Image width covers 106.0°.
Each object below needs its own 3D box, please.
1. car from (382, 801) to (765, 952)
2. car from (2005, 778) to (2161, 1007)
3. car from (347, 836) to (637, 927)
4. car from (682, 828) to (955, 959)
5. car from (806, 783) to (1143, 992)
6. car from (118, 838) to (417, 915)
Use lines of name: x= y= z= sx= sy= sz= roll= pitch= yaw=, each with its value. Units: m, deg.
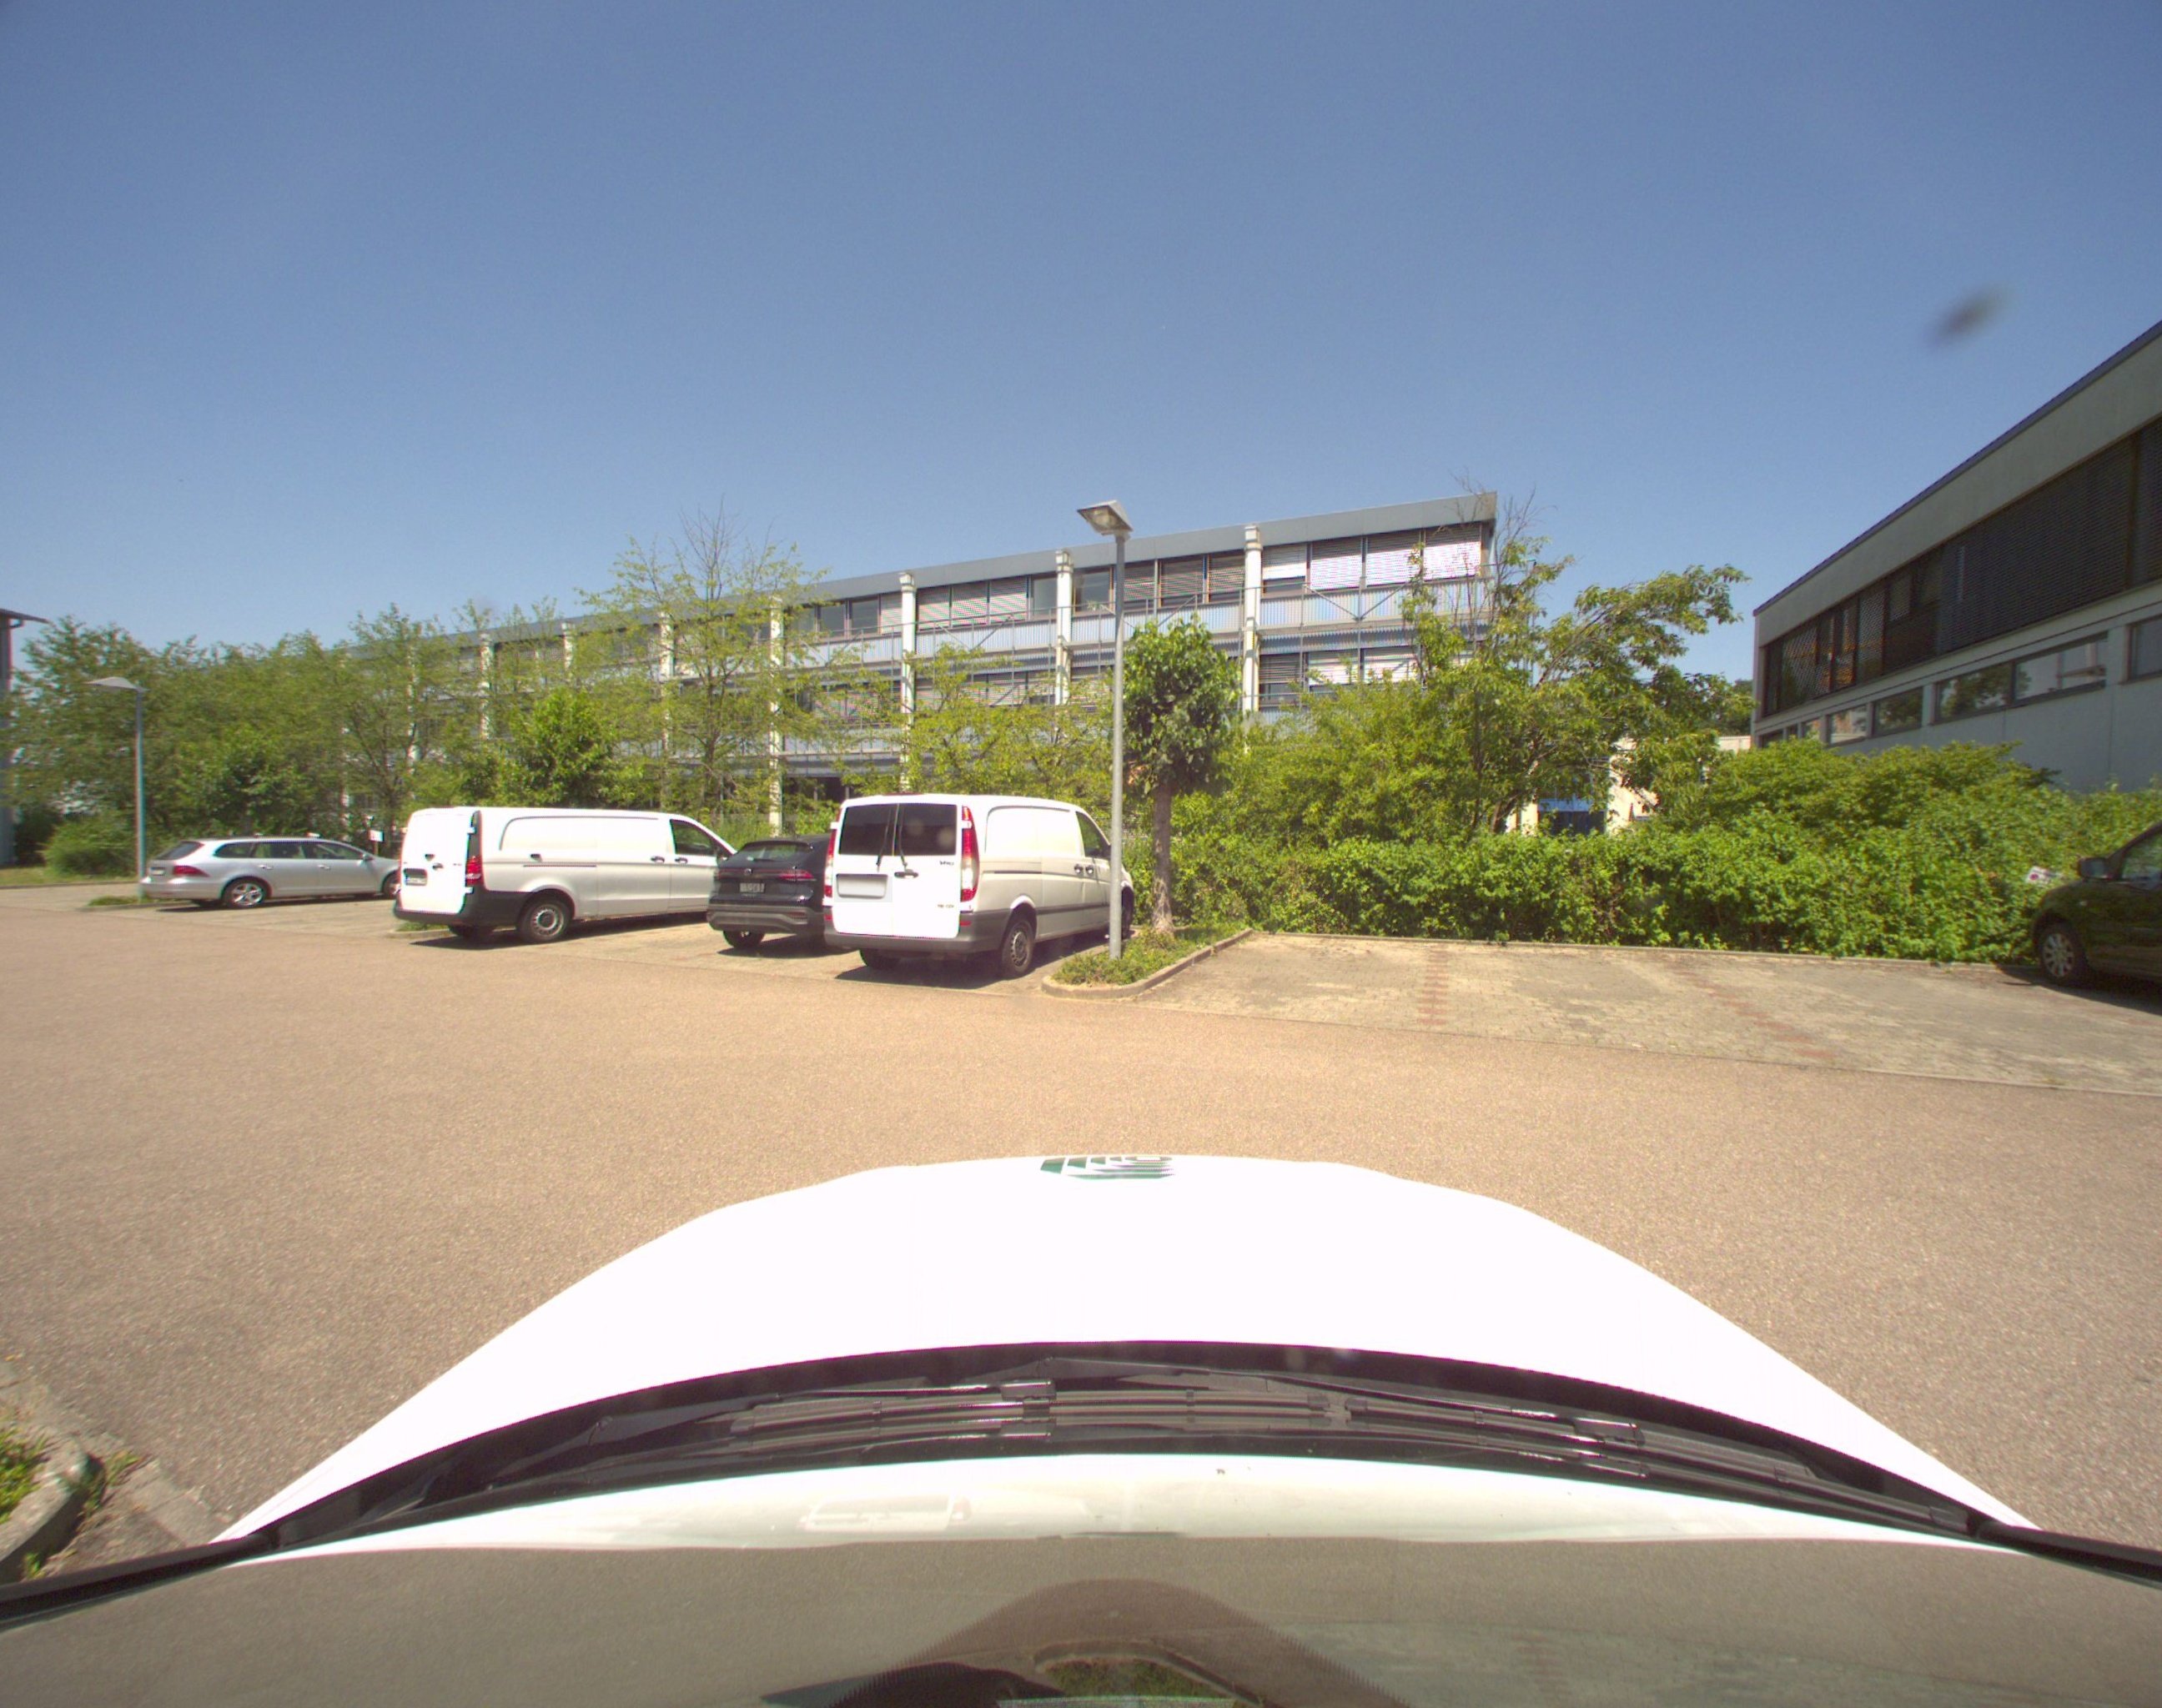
car: x=-7.550 y=0.192 z=12.806 sx=1.864 sy=1.890 sz=4.832 roll=0 pitch=2 yaw=25
car: x=9.445 y=0.308 z=6.145 sx=1.727 sy=1.836 sz=4.023 roll=0 pitch=1 yaw=24
car: x=-10.825 y=0.408 z=15.316 sx=1.766 sy=1.441 sz=4.024 roll=0 pitch=2 yaw=26
car: x=-3.413 y=0.395 z=11.503 sx=1.741 sy=1.476 sz=4.017 roll=0 pitch=2 yaw=15
car: x=-0.919 y=0.224 z=10.004 sx=1.896 sy=1.904 sz=4.835 roll=0 pitch=2 yaw=23
car: x=-17.390 y=0.380 z=17.684 sx=1.850 sy=1.406 sz=4.196 roll=1 pitch=2 yaw=27
